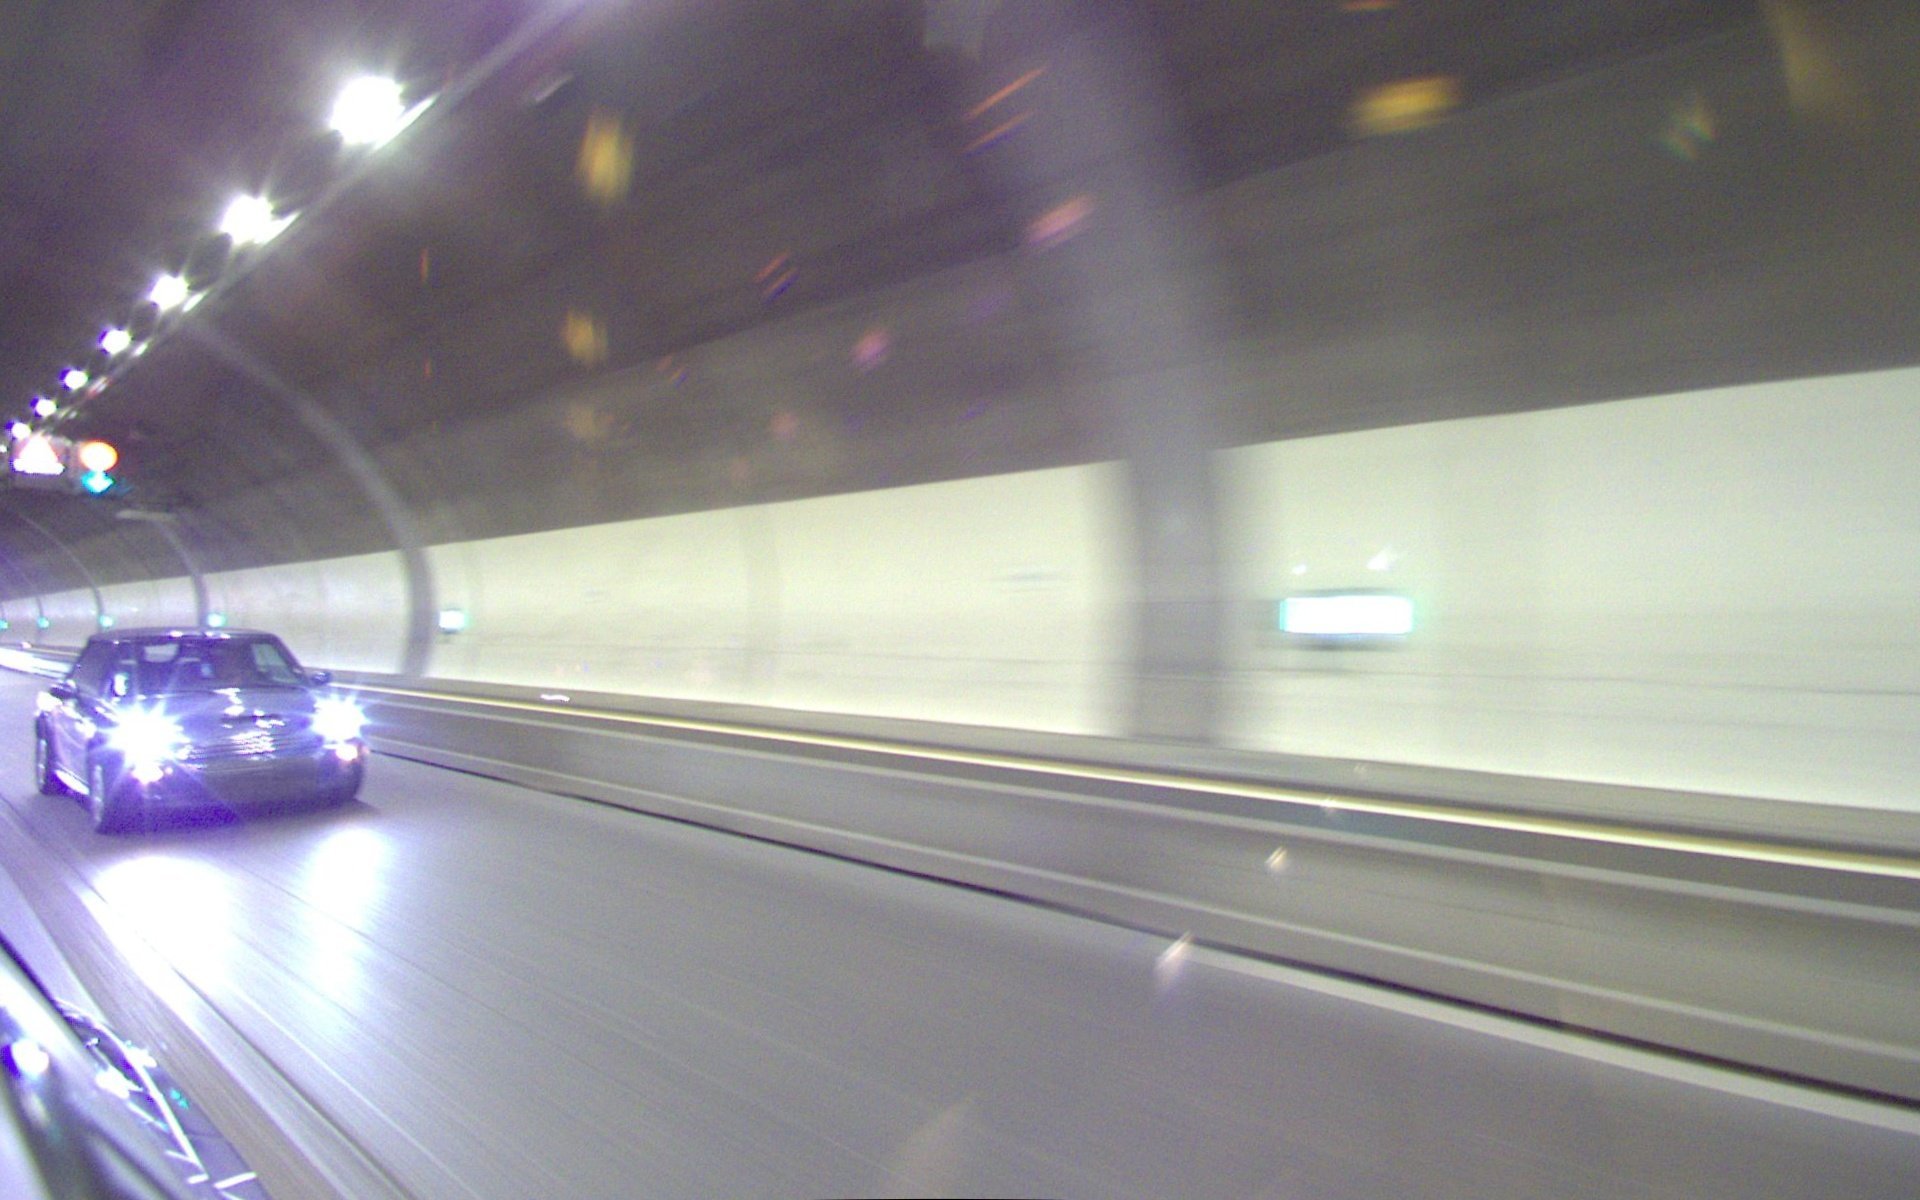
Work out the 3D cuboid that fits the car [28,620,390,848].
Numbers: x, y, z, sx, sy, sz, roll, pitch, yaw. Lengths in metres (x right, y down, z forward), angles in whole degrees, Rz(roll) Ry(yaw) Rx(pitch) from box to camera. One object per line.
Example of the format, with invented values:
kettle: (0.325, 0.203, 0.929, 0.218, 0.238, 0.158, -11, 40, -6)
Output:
car: (-6.188, 0.883, 8.198, 3.655, 1.414, 1.635, -1, -1, 41)
